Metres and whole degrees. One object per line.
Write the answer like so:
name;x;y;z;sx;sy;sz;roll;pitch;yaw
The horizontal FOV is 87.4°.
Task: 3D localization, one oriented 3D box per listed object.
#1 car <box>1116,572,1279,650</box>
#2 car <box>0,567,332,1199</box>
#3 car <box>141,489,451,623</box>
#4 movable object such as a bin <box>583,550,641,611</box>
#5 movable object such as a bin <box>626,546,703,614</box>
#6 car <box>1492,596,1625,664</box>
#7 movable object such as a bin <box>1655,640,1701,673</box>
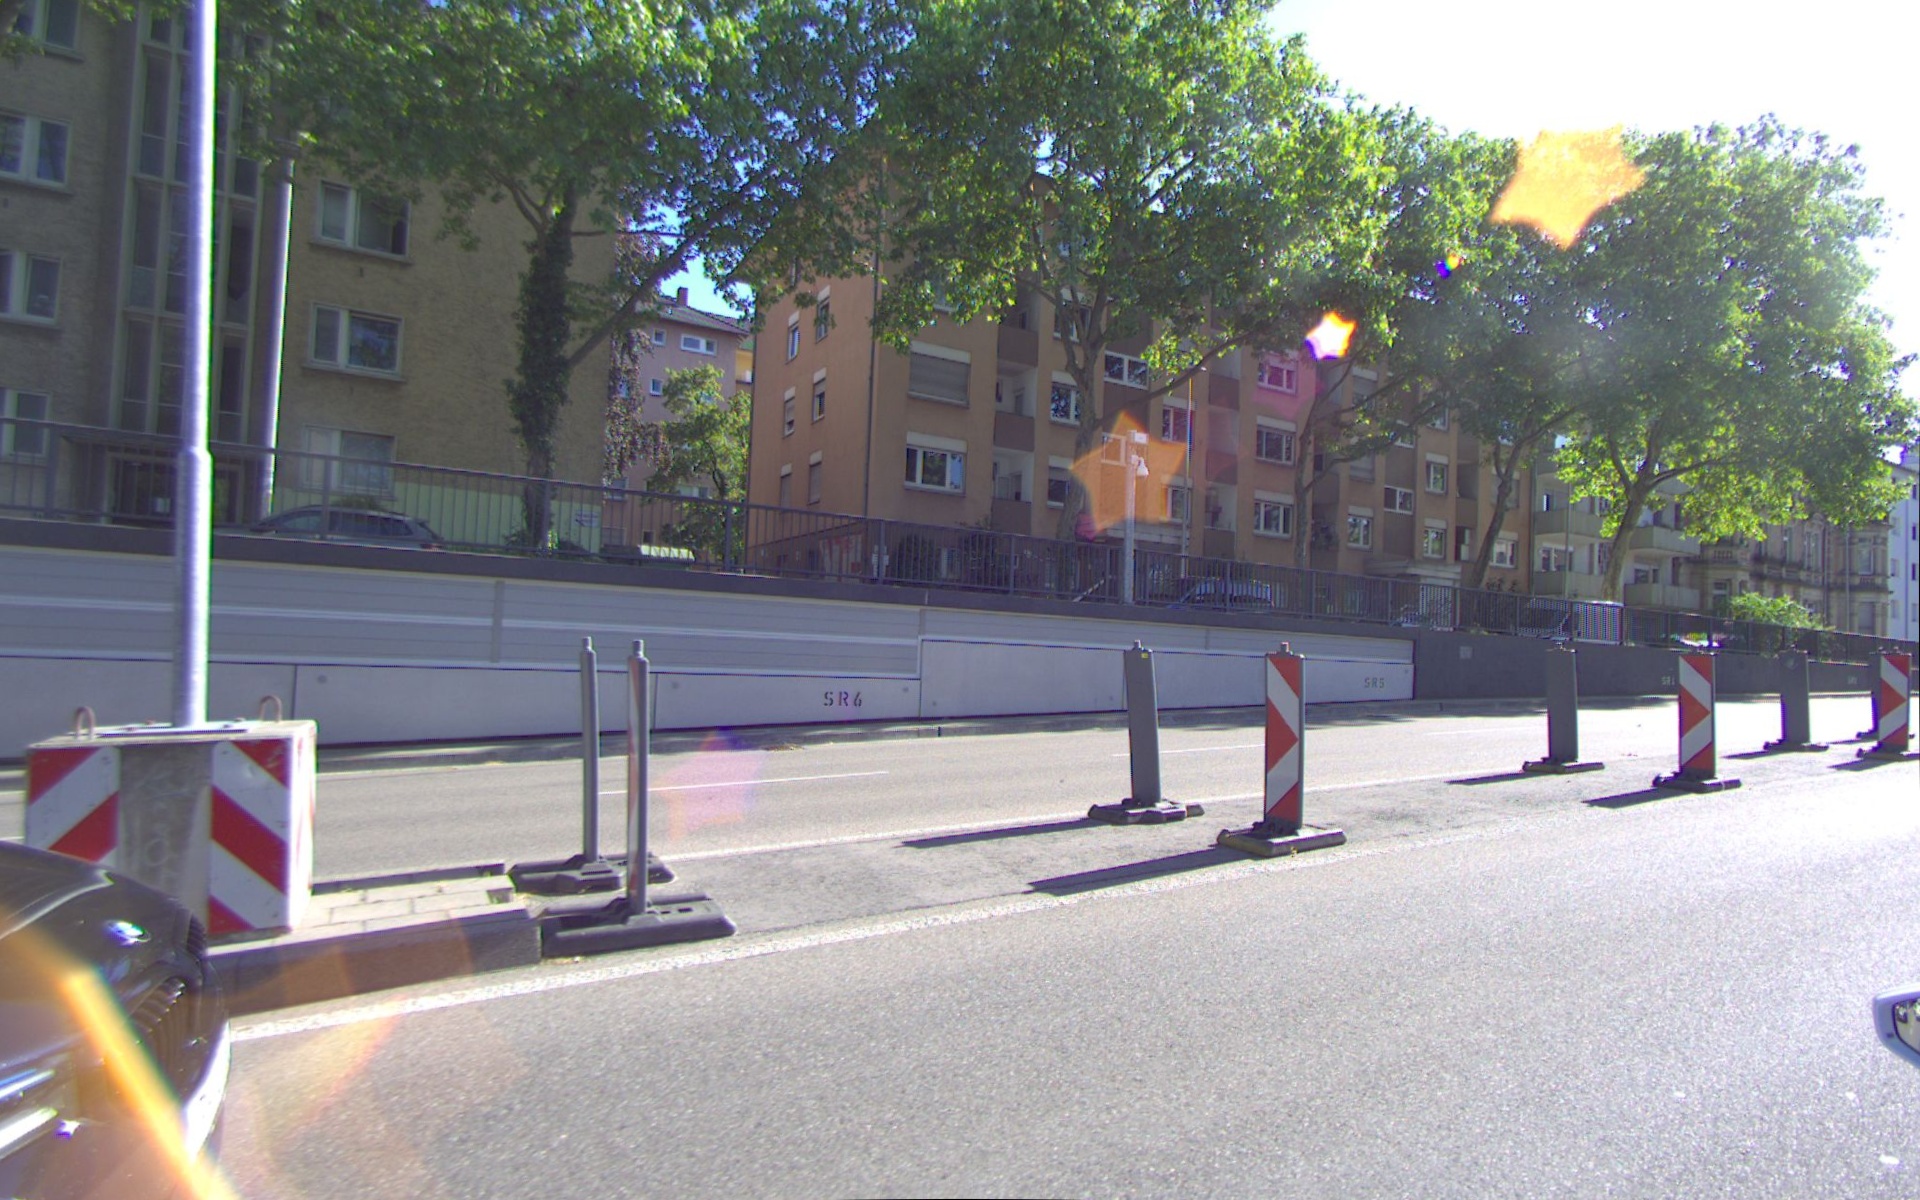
car;6.875;0.351;28.968;4.479;1.986;1.954;3;-1;-33
car;-3.494;0.650;0.855;4.945;1.458;1.799;1;0;-31
car;-11.713;-0.686;18.103;4.363;1.986;1.956;3;-1;-30
movable object such as a bin;-9.204;-0.502;26.545;1.135;1.503;1.306;3;-1;-32
movable object such as a bin;-6.971;-0.457;23.663;1.346;1.503;1.196;3;-1;-38
car;23.049;1.168;38.623;5.355;2.390;1.984;3;-1;-30
movable object such as a bin;32.849;2.585;45.968;1.286;1.420;1.273;3;-1;-30
